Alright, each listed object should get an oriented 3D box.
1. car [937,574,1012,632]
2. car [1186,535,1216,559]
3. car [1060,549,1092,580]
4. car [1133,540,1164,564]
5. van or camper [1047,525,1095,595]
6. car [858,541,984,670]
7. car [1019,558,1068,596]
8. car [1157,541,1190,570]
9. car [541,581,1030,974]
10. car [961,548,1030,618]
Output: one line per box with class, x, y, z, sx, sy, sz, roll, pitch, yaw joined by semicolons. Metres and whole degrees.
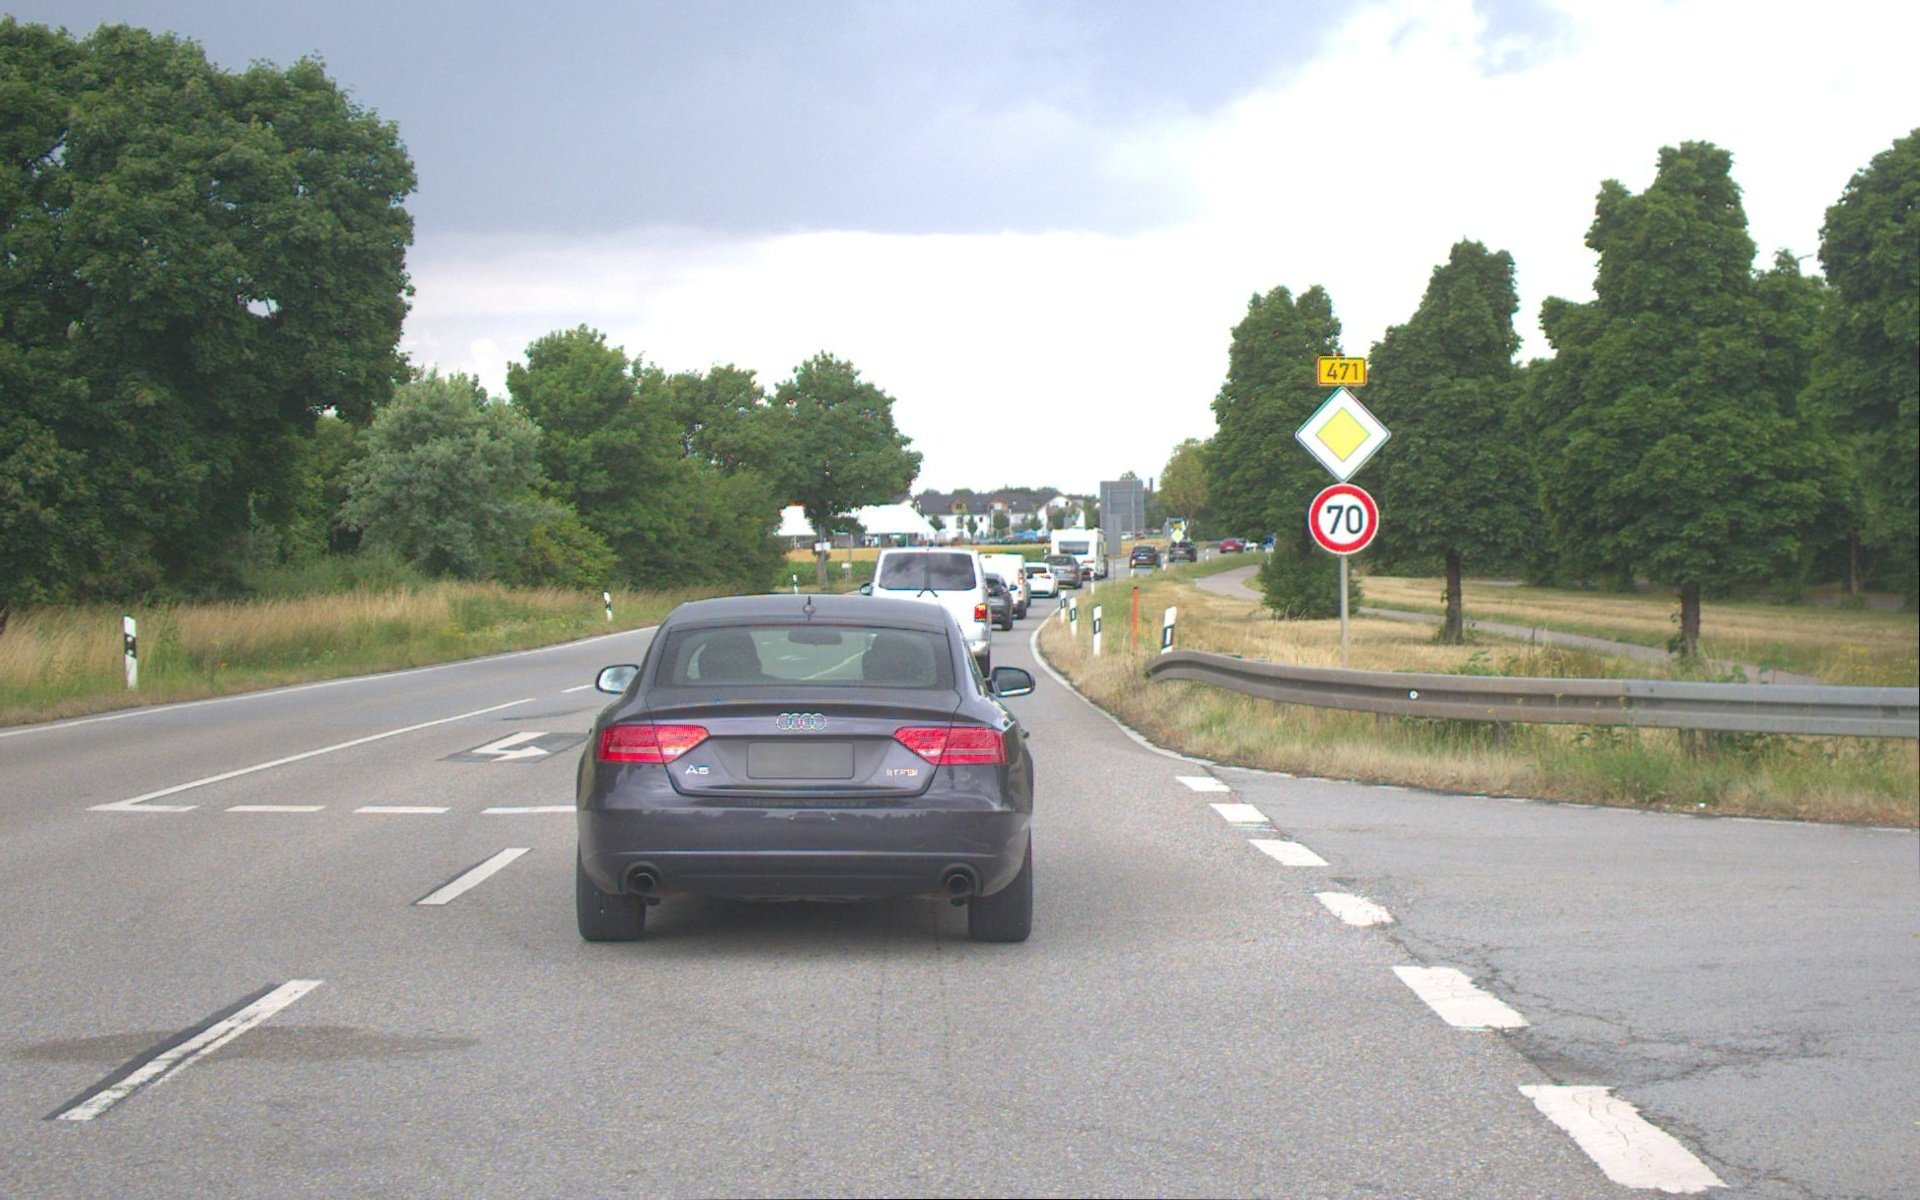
car;0.394;0.061;89.390;1.796;1.459;3.248;0;1;3
car;16.457;-3.587;234.862;1.821;1.591;4.000;1;1;1
car;5.233;-1.595;154.823;1.258;1.349;3.465;0;1;5
car;11.821;-3.031;215.910;1.719;1.446;4.000;1;1;1
van or camper;5.550;-2.004;172.902;2.340;3.469;5.718;0;1;1
car;-0.596;0.054;52.793;1.838;1.876;4.000;1;1;-1
car;3.371;-0.950;138.712;1.736;1.509;3.746;0;1;5
car;14.983;-3.102;241.158;1.993;2.007;4.000;0;1;-1
car;-0.667;0.645;14.666;1.783;1.372;4.000;1;1;-1
car;1.109;-0.536;105.084;1.994;2.081;4.000;0;1;2
